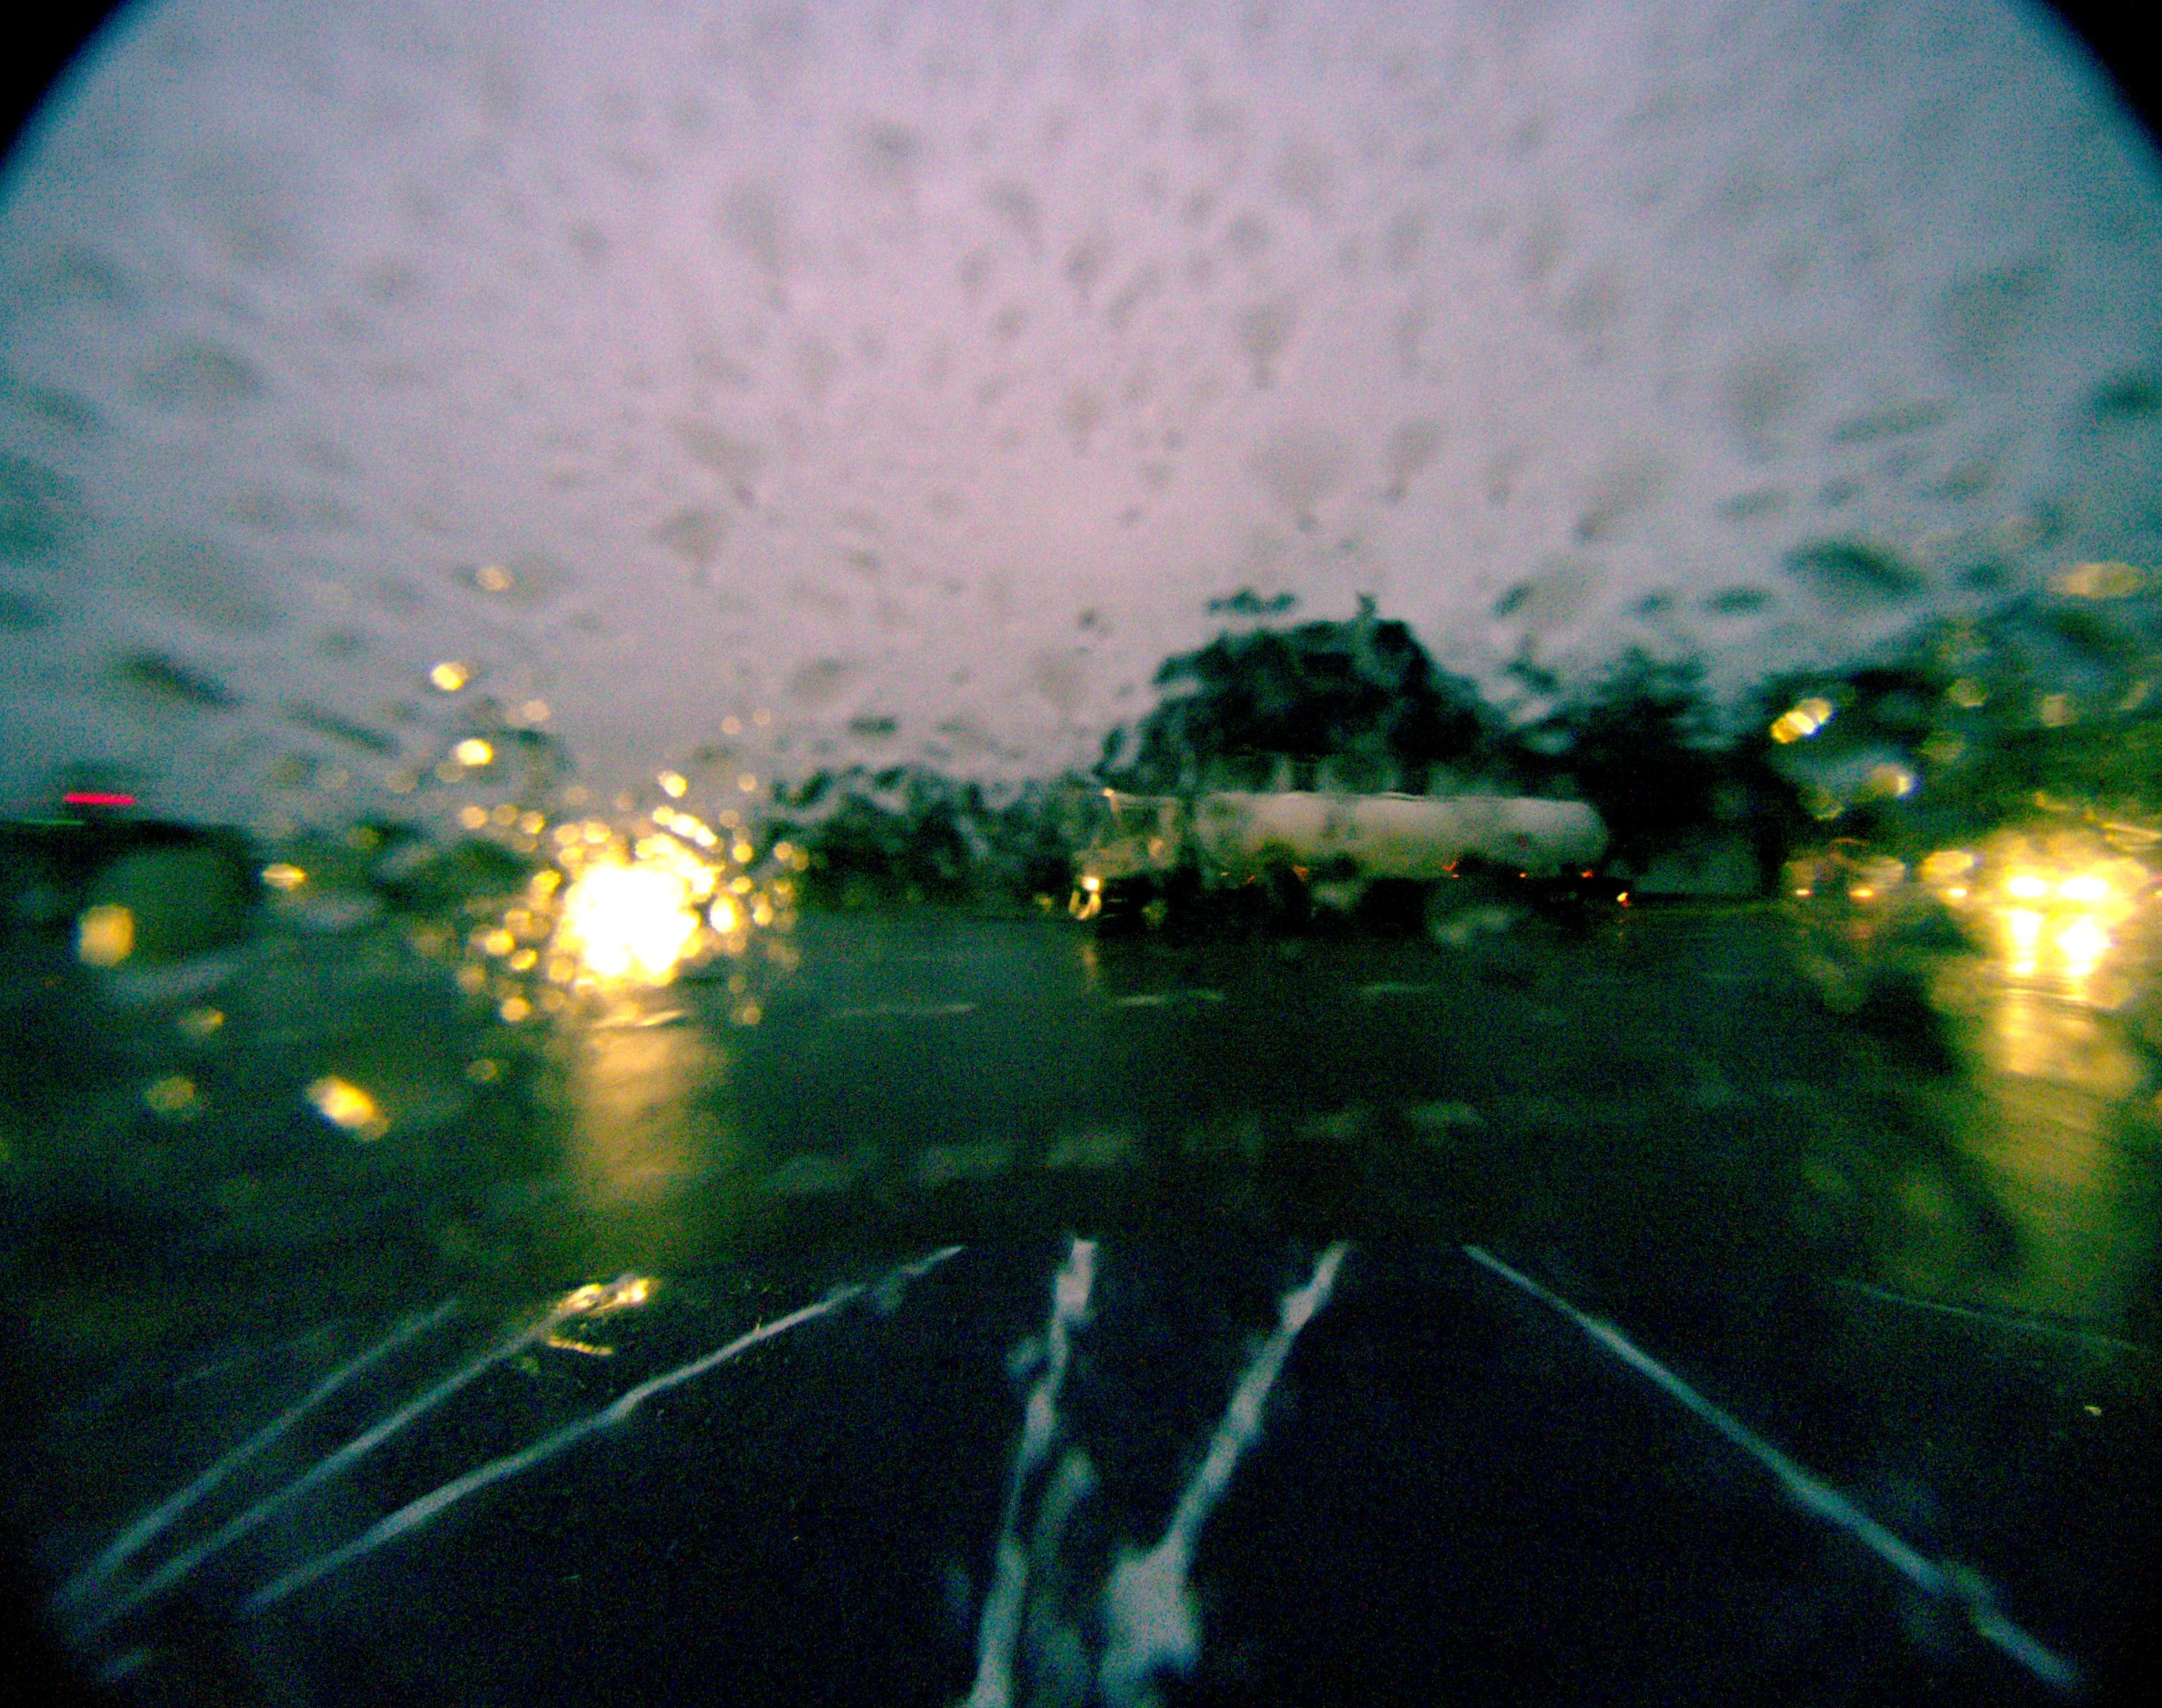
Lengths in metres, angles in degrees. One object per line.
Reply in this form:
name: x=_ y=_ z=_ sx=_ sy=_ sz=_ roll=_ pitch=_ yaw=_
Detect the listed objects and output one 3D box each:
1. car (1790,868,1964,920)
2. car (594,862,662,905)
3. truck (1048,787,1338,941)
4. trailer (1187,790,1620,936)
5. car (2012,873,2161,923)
car: x=23.774 y=1.169 z=22.722 sx=4.384 sy=1.430 sz=1.666 roll=0 pitch=-1 yaw=-14
car: x=-18.870 y=1.181 z=31.588 sx=1.822 sy=1.678 sz=3.906 roll=1 pitch=-1 yaw=-40
truck: x=2.552 y=0.229 z=17.848 sx=6.276 sy=3.210 sz=2.467 roll=0 pitch=-1 yaw=-15
trailer: x=8.265 y=0.214 z=19.336 sx=10.874 sy=3.221 sz=2.493 roll=0 pitch=-1 yaw=-15
car: x=34.157 y=1.429 z=25.549 sx=4.506 sy=1.558 sz=1.840 roll=0 pitch=-1 yaw=-14
